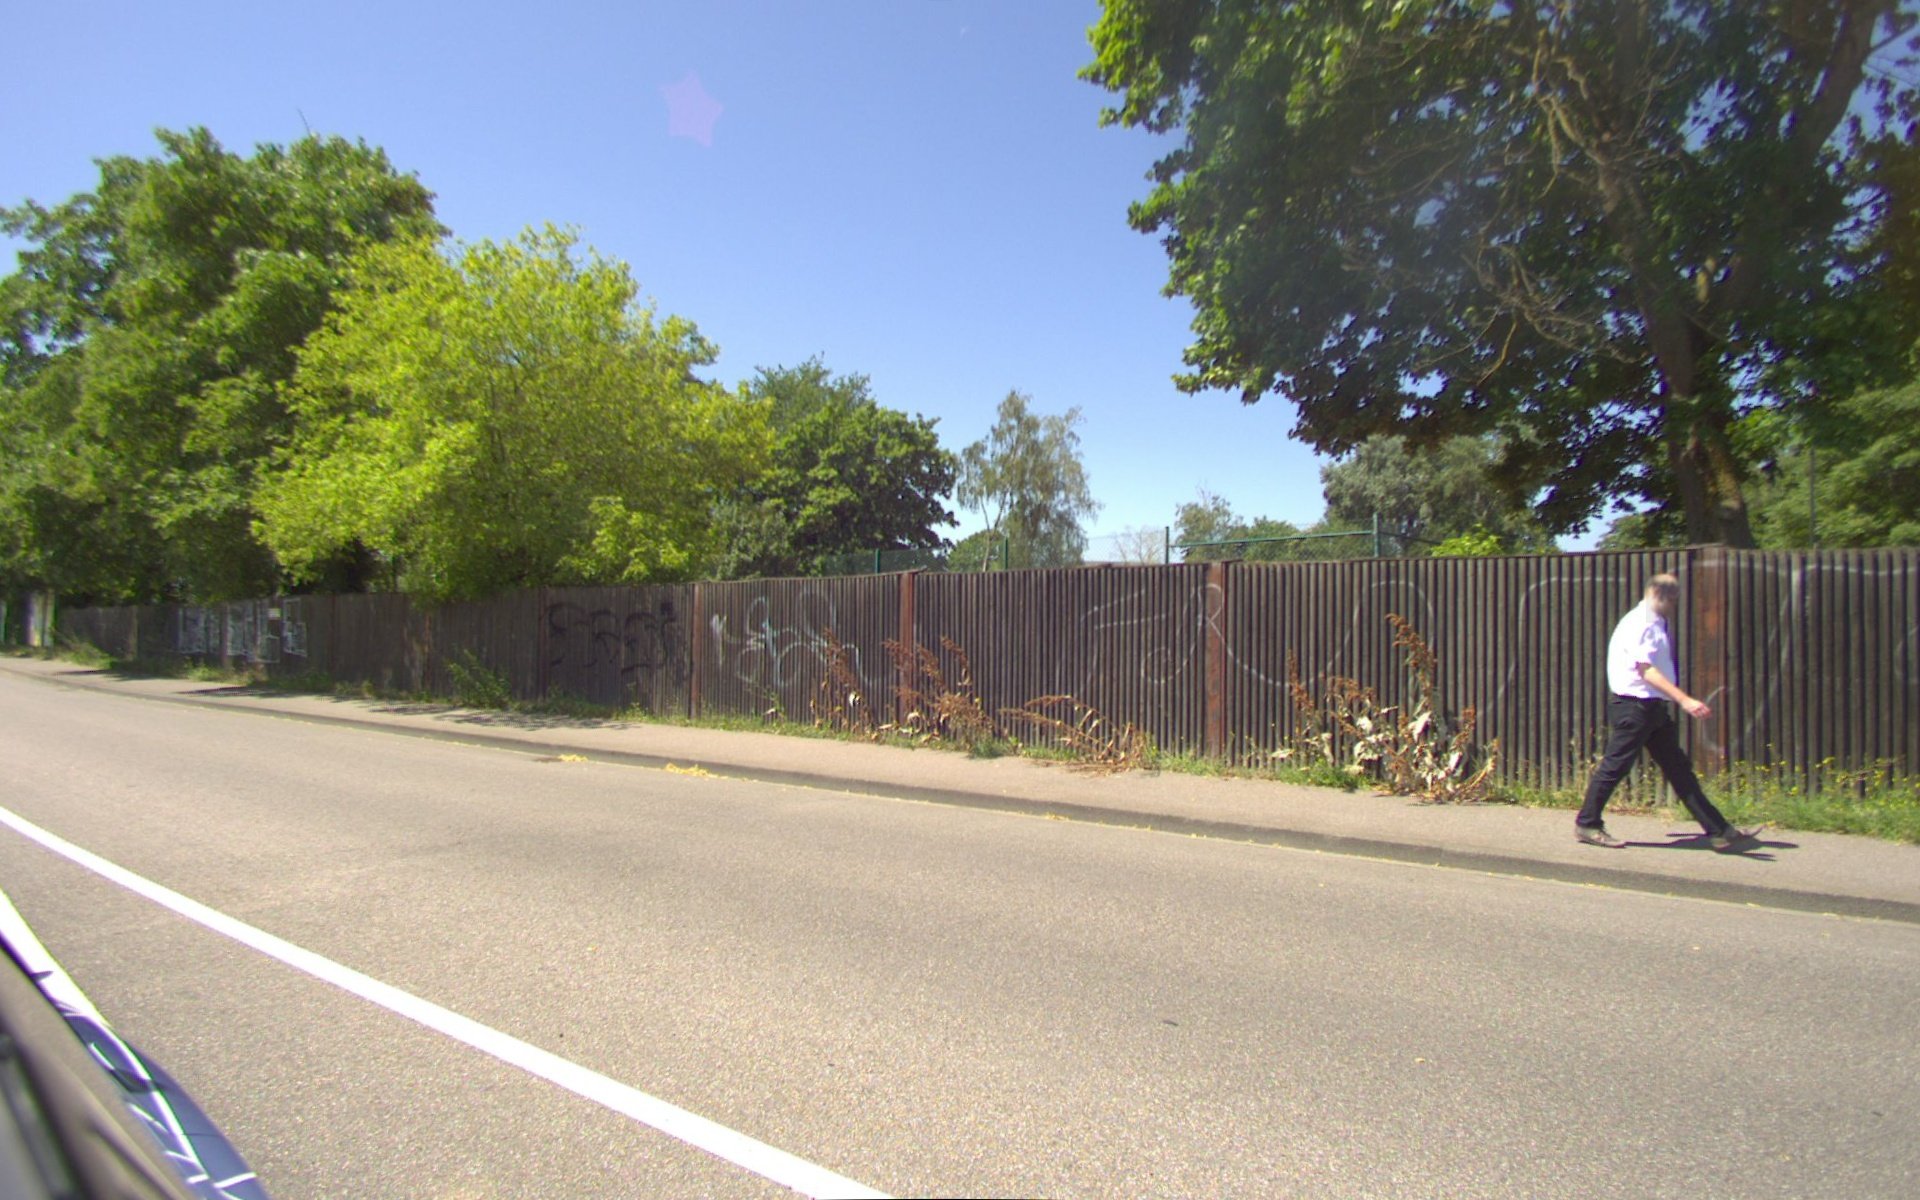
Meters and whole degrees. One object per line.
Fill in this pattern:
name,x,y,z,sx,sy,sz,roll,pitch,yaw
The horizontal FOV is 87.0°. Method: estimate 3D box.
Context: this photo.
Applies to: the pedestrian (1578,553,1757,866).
pedestrian,4.509,0.648,6.460,0.850,1.838,0.586,-1,-1,41
